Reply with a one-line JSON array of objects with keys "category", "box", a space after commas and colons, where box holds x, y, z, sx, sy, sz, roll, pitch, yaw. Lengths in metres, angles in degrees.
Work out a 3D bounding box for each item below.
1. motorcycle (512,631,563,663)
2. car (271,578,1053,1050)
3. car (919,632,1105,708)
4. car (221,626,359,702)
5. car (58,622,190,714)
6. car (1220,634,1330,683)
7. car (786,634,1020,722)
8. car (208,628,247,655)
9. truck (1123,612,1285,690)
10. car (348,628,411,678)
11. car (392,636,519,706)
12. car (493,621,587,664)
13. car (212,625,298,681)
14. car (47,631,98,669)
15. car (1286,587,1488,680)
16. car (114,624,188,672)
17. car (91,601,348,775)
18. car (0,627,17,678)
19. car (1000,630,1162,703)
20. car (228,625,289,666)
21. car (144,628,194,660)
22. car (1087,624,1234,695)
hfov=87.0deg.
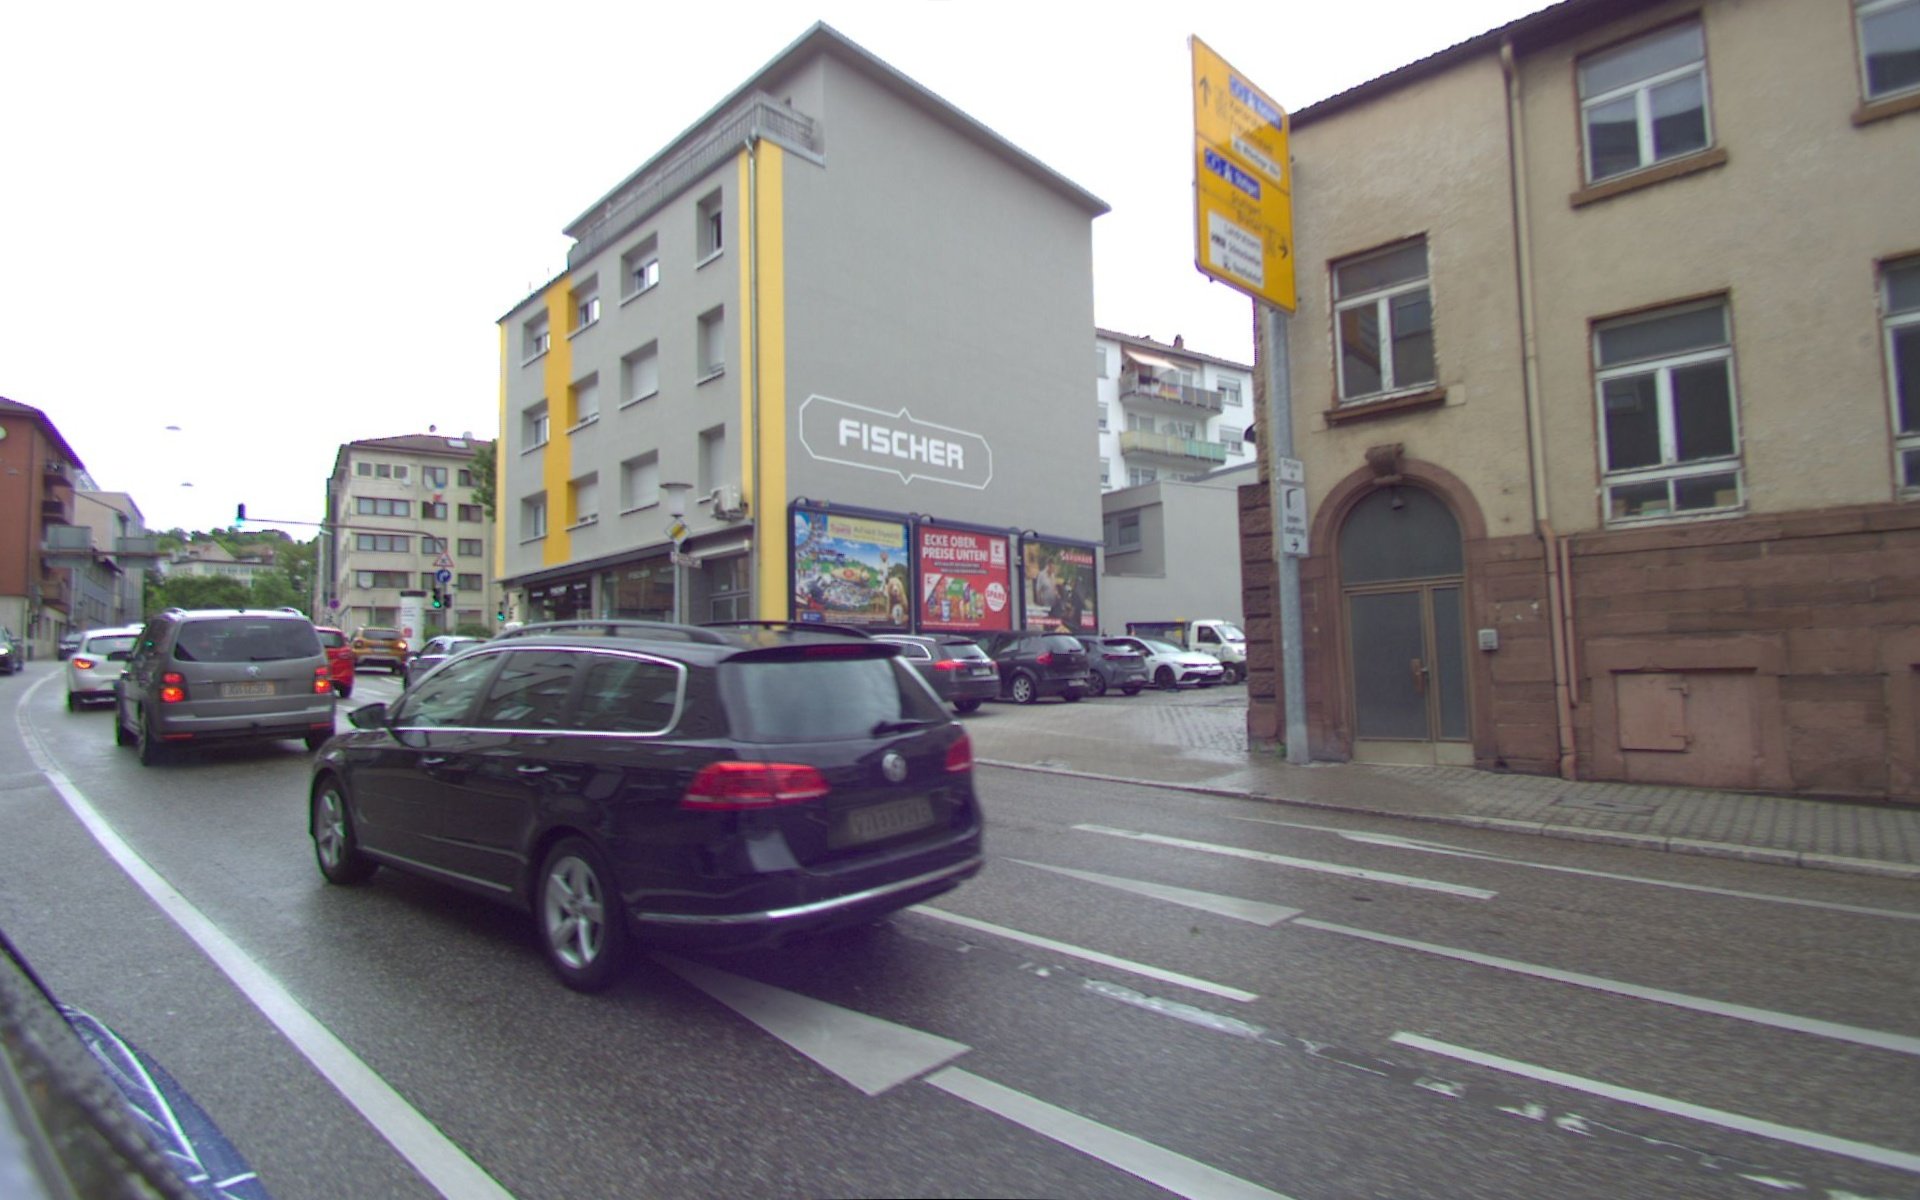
[{"category": "motorcycle", "box": [-18.254, 2.003, 43.742, 1.963, 1.339, 0.540, 1, -3, -44]}, {"category": "car", "box": [-1.821, 0.764, 5.345, 4.364, 1.527, 1.706, 0, -4, 38]}, {"category": "car", "box": [1.049, 1.439, 21.832, 3.855, 1.475, 1.672, -2, -2, 44]}, {"category": "car", "box": [-15.026, 1.388, 22.618, 1.720, 1.527, 4.133, 5, -4, -45]}, {"category": "car", "box": [-15.954, 1.192, 19.232, 1.678, 1.491, 4.295, -1, 0, -43]}, {"category": "car", "box": [9.400, 1.771, 30.345, 1.300, 1.285, 2.851, 0, -6, -36]}, {"category": "car", "box": [-1.198, 1.413, 19.551, 4.662, 1.466, 1.673, -2, -1, 41]}, {"category": "car", "box": [-45.075, 2.515, 62.271, 1.795, 1.548, 4.388, 2, -2, -37]}, {"category": "truck", "box": [6.996, 1.522, 29.391, 1.695, 1.987, 4.229, 1, -6, -42]}, {"category": "car", "box": [-20.321, 1.827, 35.384, 1.633, 1.622, 3.939, 4, -4, -33]}, {"category": "car", "box": [-11.916, 1.691, 23.794, 1.641, 1.398, 3.803, 1, -6, -43]}, {"category": "car", "box": [-21.473, 2.192, 51.821, 1.729, 1.843, 4.012, 1, -6, 35]}, {"category": "car", "box": [-22.910, 1.700, 32.824, 1.784, 1.644, 4.349, 5, -4, -40]}, {"category": "car", "box": [-47.929, 2.710, 54.714, 1.766, 1.741, 4.008, 0, -6, -38]}, {"category": "car", "box": [13.702, 1.172, 32.917, 2.098, 2.578, 5.644, 0, -6, -35]}, {"category": "car", "box": [-28.245, 1.639, 35.457, 1.783, 1.533, 4.572, 2, -2, -36]}, {"category": "car", "box": [-9.062, 0.912, 12.225, 4.563, 1.718, 1.786, -1, -2, 45]}, {"category": "car", "box": [-29.187, 1.571, 29.811, 1.846, 1.453, 4.006, 1, -3, -40]}, {"category": "car", "box": [2.866, 1.639, 24.514, 1.712, 1.527, 3.570, 1, -6, -43]}, {"category": "car", "box": [-28.598, 1.878, 41.208, 1.783, 1.554, 4.388, 2, -4, -37]}, {"category": "car", "box": [-38.651, 2.130, 49.420, 1.783, 1.425, 4.387, 2, -2, -39]}, {"category": "car", "box": [5.321, 1.620, 27.180, 1.653, 1.684, 3.553, 0, -6, -39]}]
